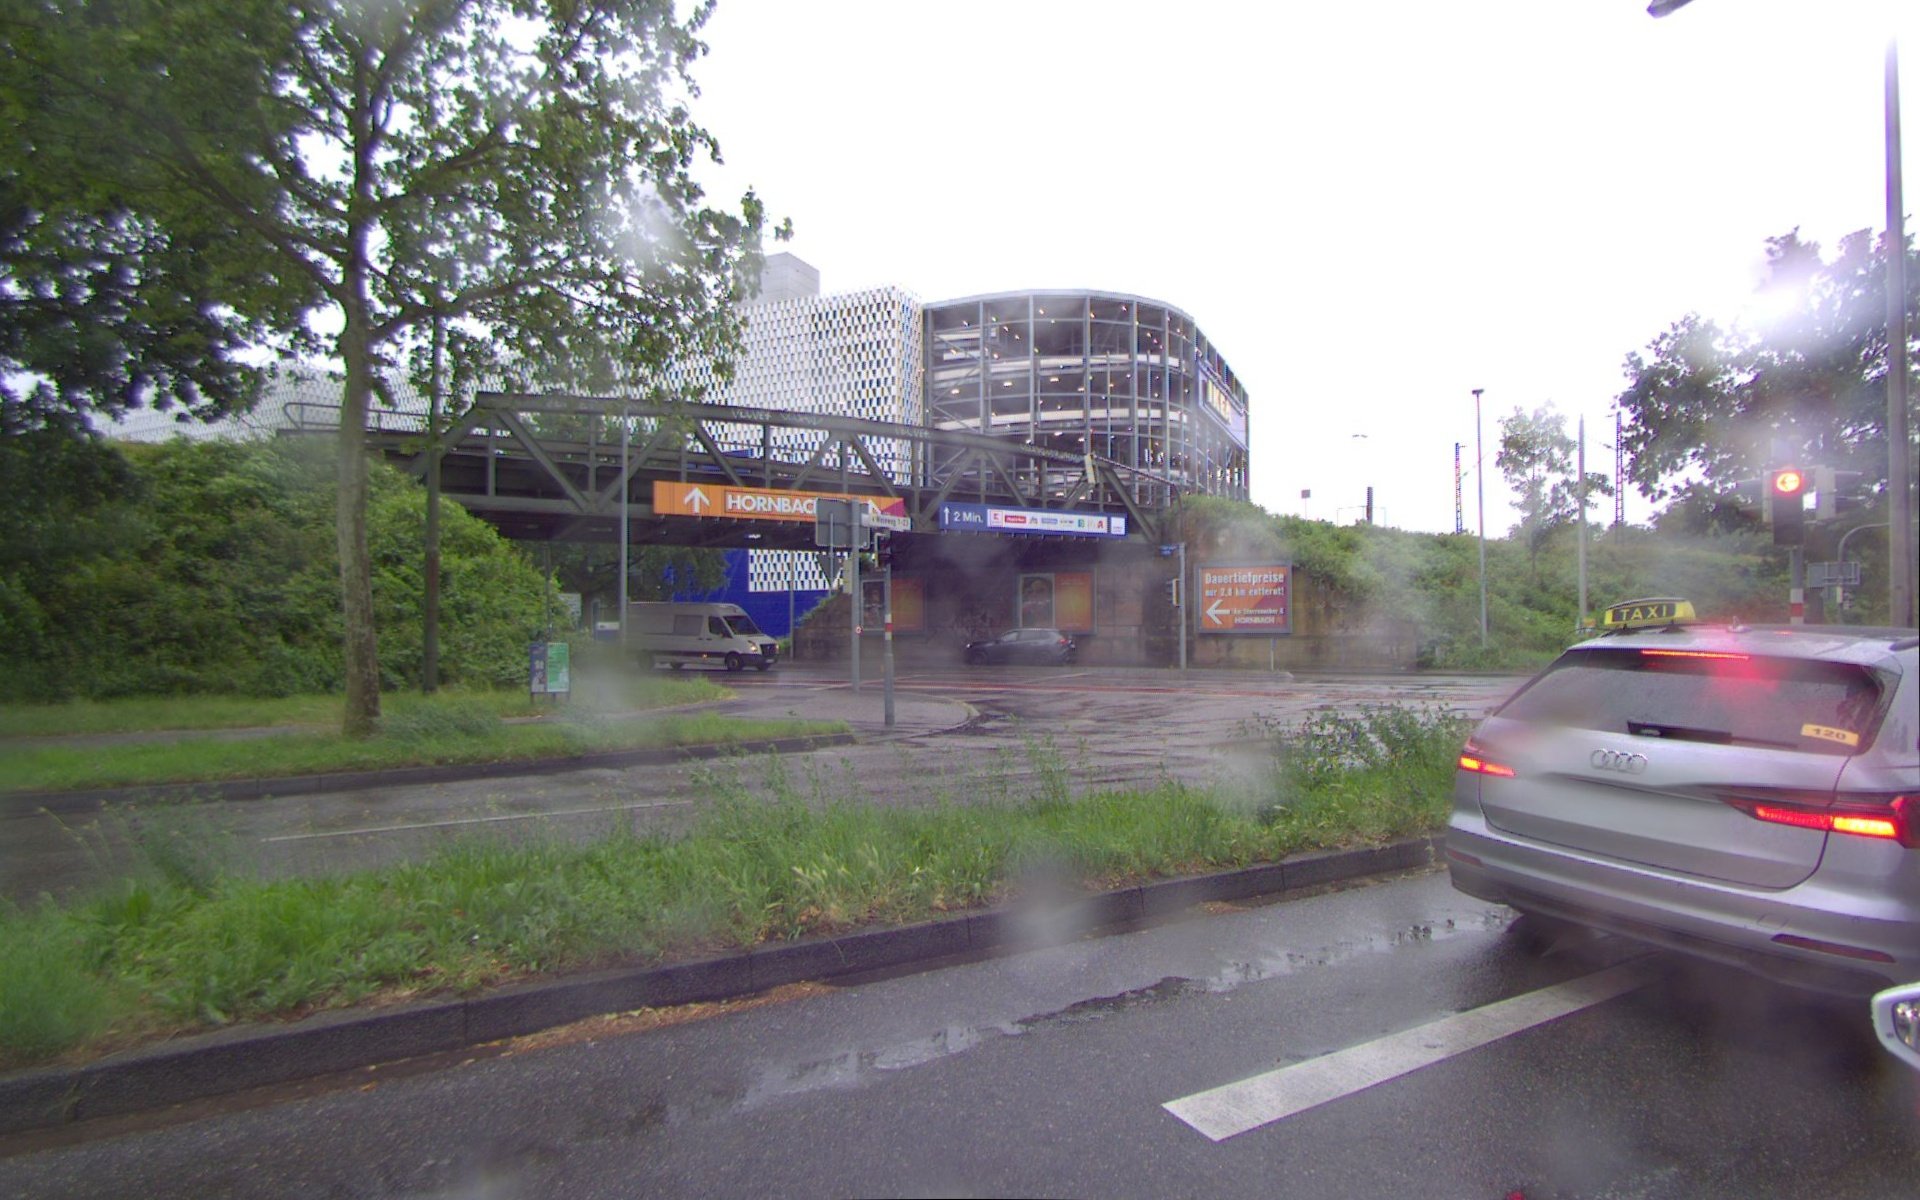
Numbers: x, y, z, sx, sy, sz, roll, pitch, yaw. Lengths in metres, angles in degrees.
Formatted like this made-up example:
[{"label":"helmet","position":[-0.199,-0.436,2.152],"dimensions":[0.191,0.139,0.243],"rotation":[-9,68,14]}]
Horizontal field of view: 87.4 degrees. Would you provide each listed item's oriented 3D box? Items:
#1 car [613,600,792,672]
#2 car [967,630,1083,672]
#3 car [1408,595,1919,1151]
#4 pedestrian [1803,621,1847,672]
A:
[{"label":"car","position":[-10.146,1.408,39.415],"dimensions":[6.847,2.645,2.386],"rotation":[-1,-2,25]},{"label":"car","position":[2.530,1.955,39.199],"dimensions":[4.166,1.580,1.746],"rotation":[-1,-2,24]},{"label":"car","position":[4.423,0.823,4.817],"dimensions":[4.766,1.595,1.760],"rotation":[1,0,-31]},{"label":"pedestrian","position":[32.376,1.746,37.593],"dimensions":[1.122,1.871,1.092],"rotation":[2,-2,-41]}]
